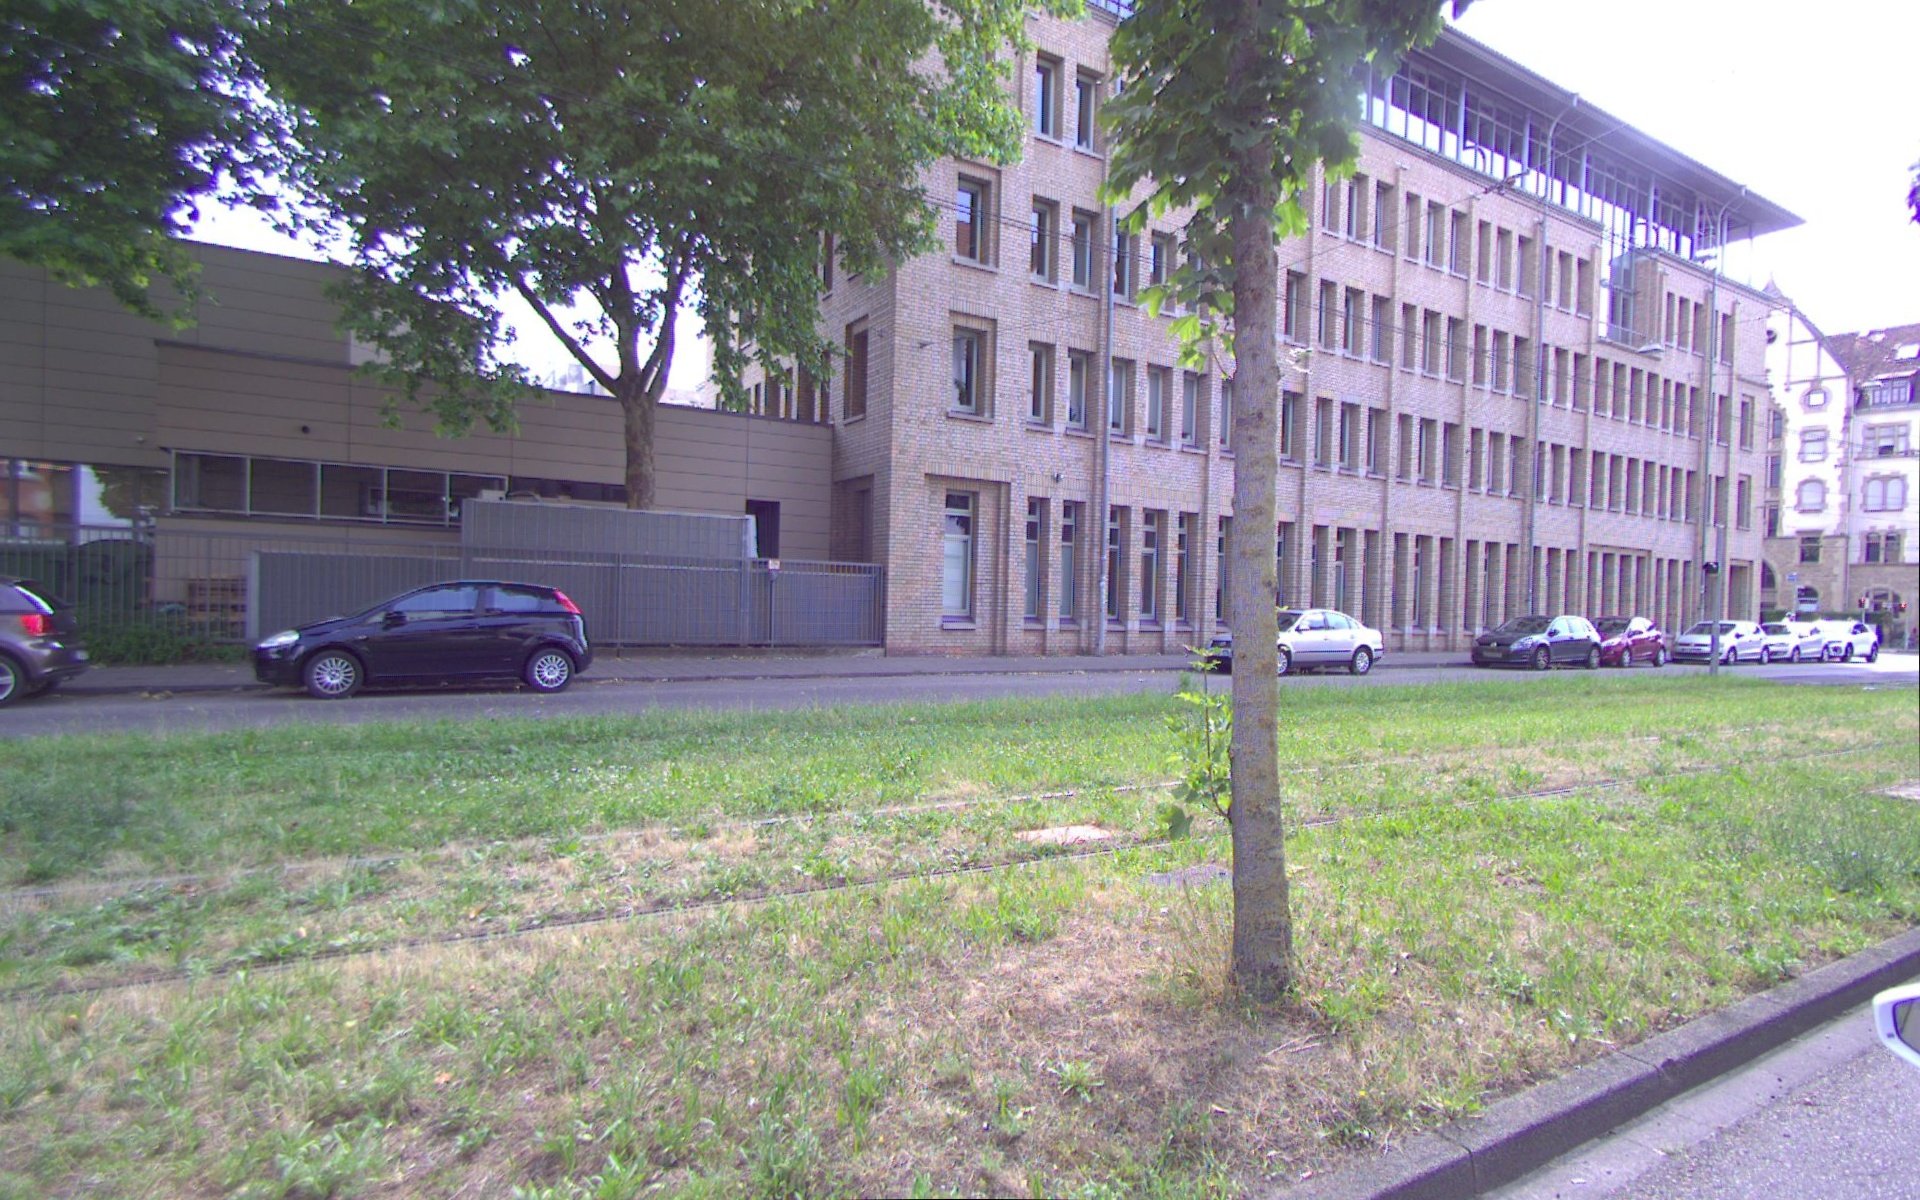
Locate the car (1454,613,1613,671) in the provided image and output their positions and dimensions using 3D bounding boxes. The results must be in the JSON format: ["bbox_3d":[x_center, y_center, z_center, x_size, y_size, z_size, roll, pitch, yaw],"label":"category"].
[{"bbox_3d":[15.736,1.136,27.517,4.189,1.415,1.924,2,0,-30],"label":"car"}]

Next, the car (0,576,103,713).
[{"bbox_3d":[-11.722,0.433,10.576,3.857,1.445,1.546,1,0,-31],"label":"car"}]

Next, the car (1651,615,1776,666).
[{"bbox_3d":[25.069,1.327,33.400,4.160,1.551,1.842,1,0,-30],"label":"car"}]

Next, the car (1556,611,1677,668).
[{"bbox_3d":[19.559,1.164,29.912,3.507,1.551,1.575,1,0,-30],"label":"car"}]

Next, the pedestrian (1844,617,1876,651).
[{"bbox_3d":[48.482,1.810,54.105,1.003,1.745,0.776,2,1,15],"label":"pedestrian"}]

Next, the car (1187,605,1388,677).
[{"bbox_3d":[7.308,0.887,22.286,4.432,1.415,1.707,2,0,-30],"label":"car"}]

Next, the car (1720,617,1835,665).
[{"bbox_3d":[29.413,1.461,36.123,3.967,1.551,1.924,1,0,-30],"label":"car"}]

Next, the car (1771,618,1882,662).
[{"bbox_3d":[33.156,1.517,38.405,4.207,1.555,1.924,1,0,-30],"label":"car"}]

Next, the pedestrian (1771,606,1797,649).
[{"bbox_3d":[36.064,1.208,43.973,0.749,1.819,0.957,2,1,34],"label":"pedestrian"}]

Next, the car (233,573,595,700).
[{"bbox_3d":[-7.084,0.457,13.382,3.950,1.472,1.795,2,0,-28],"label":"car"}]
